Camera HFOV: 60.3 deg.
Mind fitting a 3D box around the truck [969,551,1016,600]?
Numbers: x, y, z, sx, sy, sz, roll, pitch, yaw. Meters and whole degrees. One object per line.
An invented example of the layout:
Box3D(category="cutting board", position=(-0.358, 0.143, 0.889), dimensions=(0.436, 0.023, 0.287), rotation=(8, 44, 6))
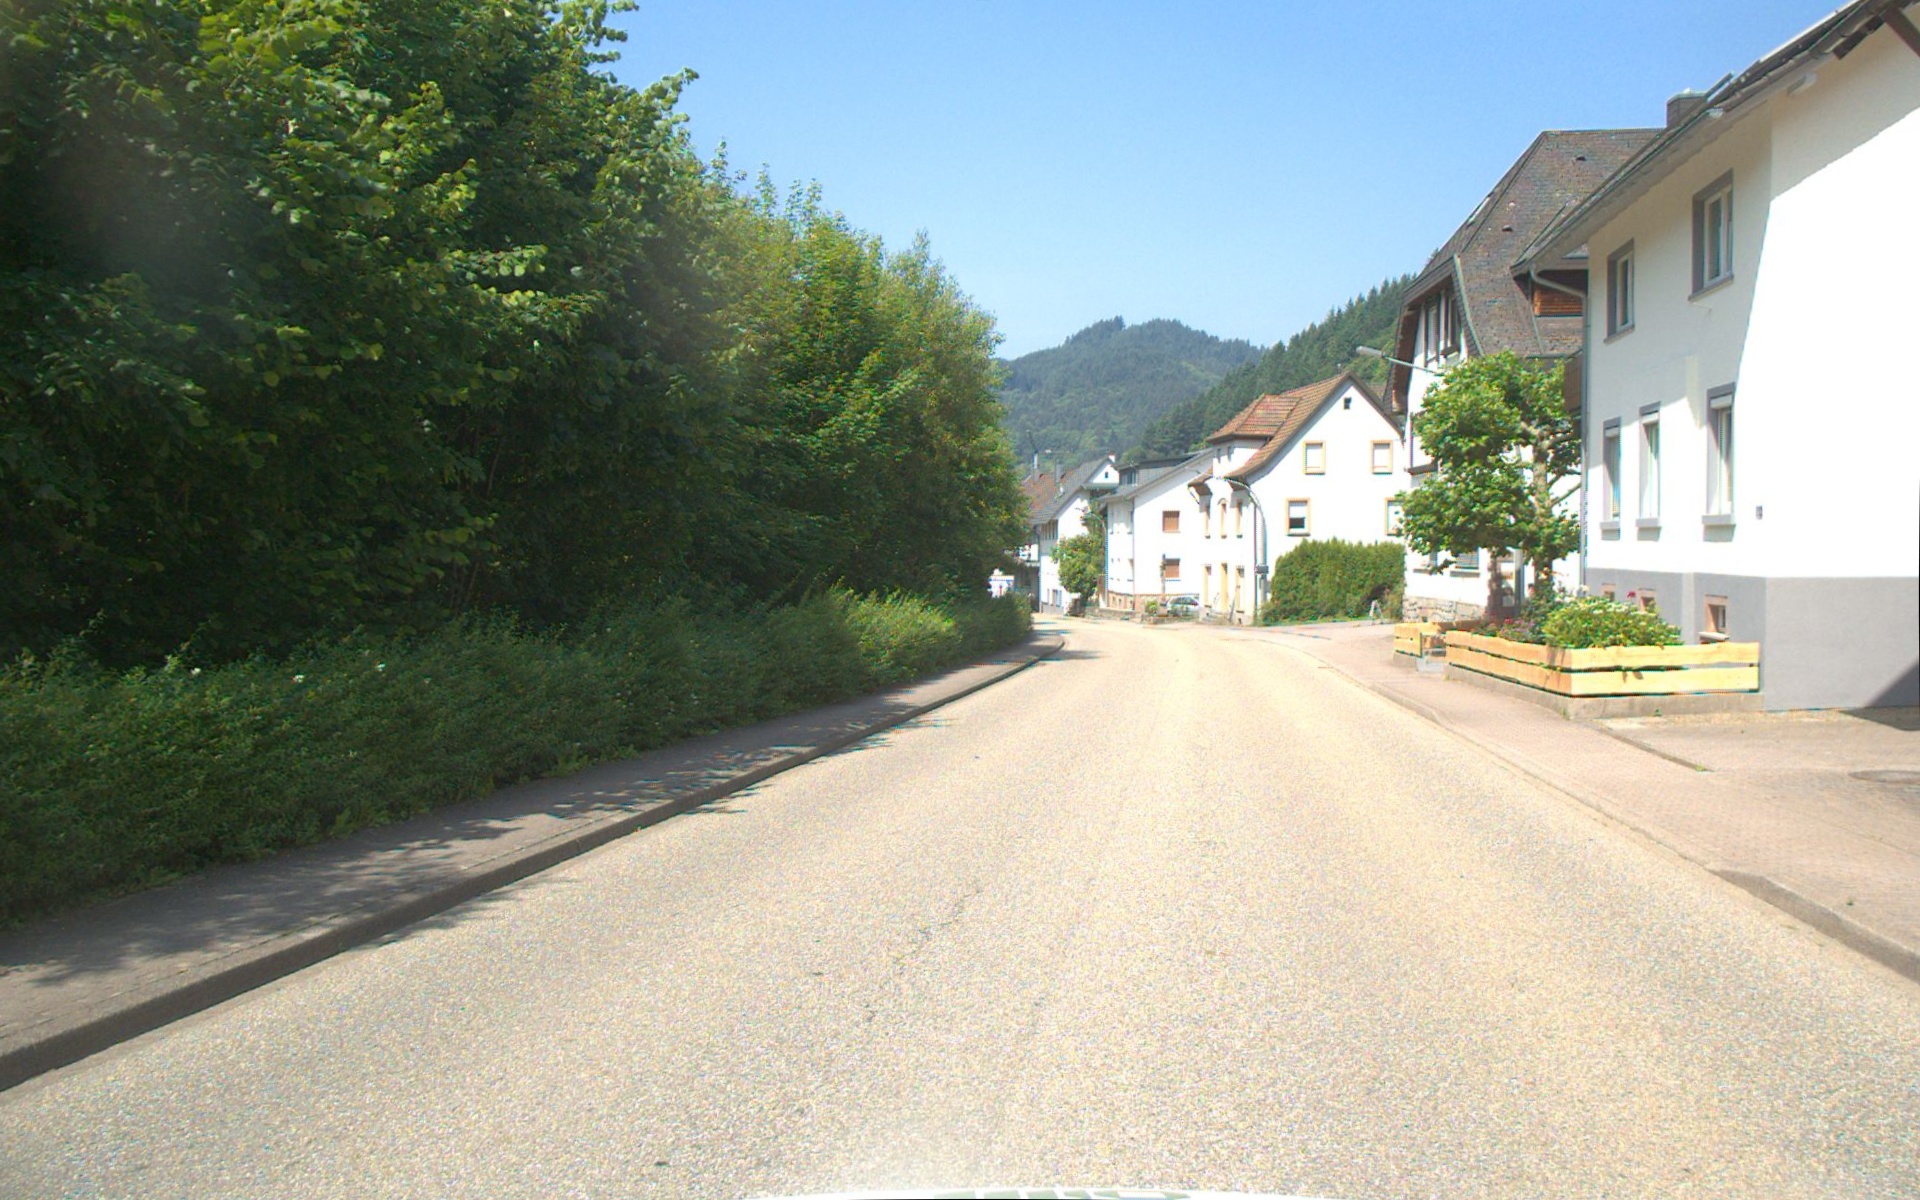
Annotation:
Box3D(category="truck", position=(2.860, -2.164, 149.426), dimensions=(3.297, 3.847, 8.433), rotation=(-4, -1, -3))
